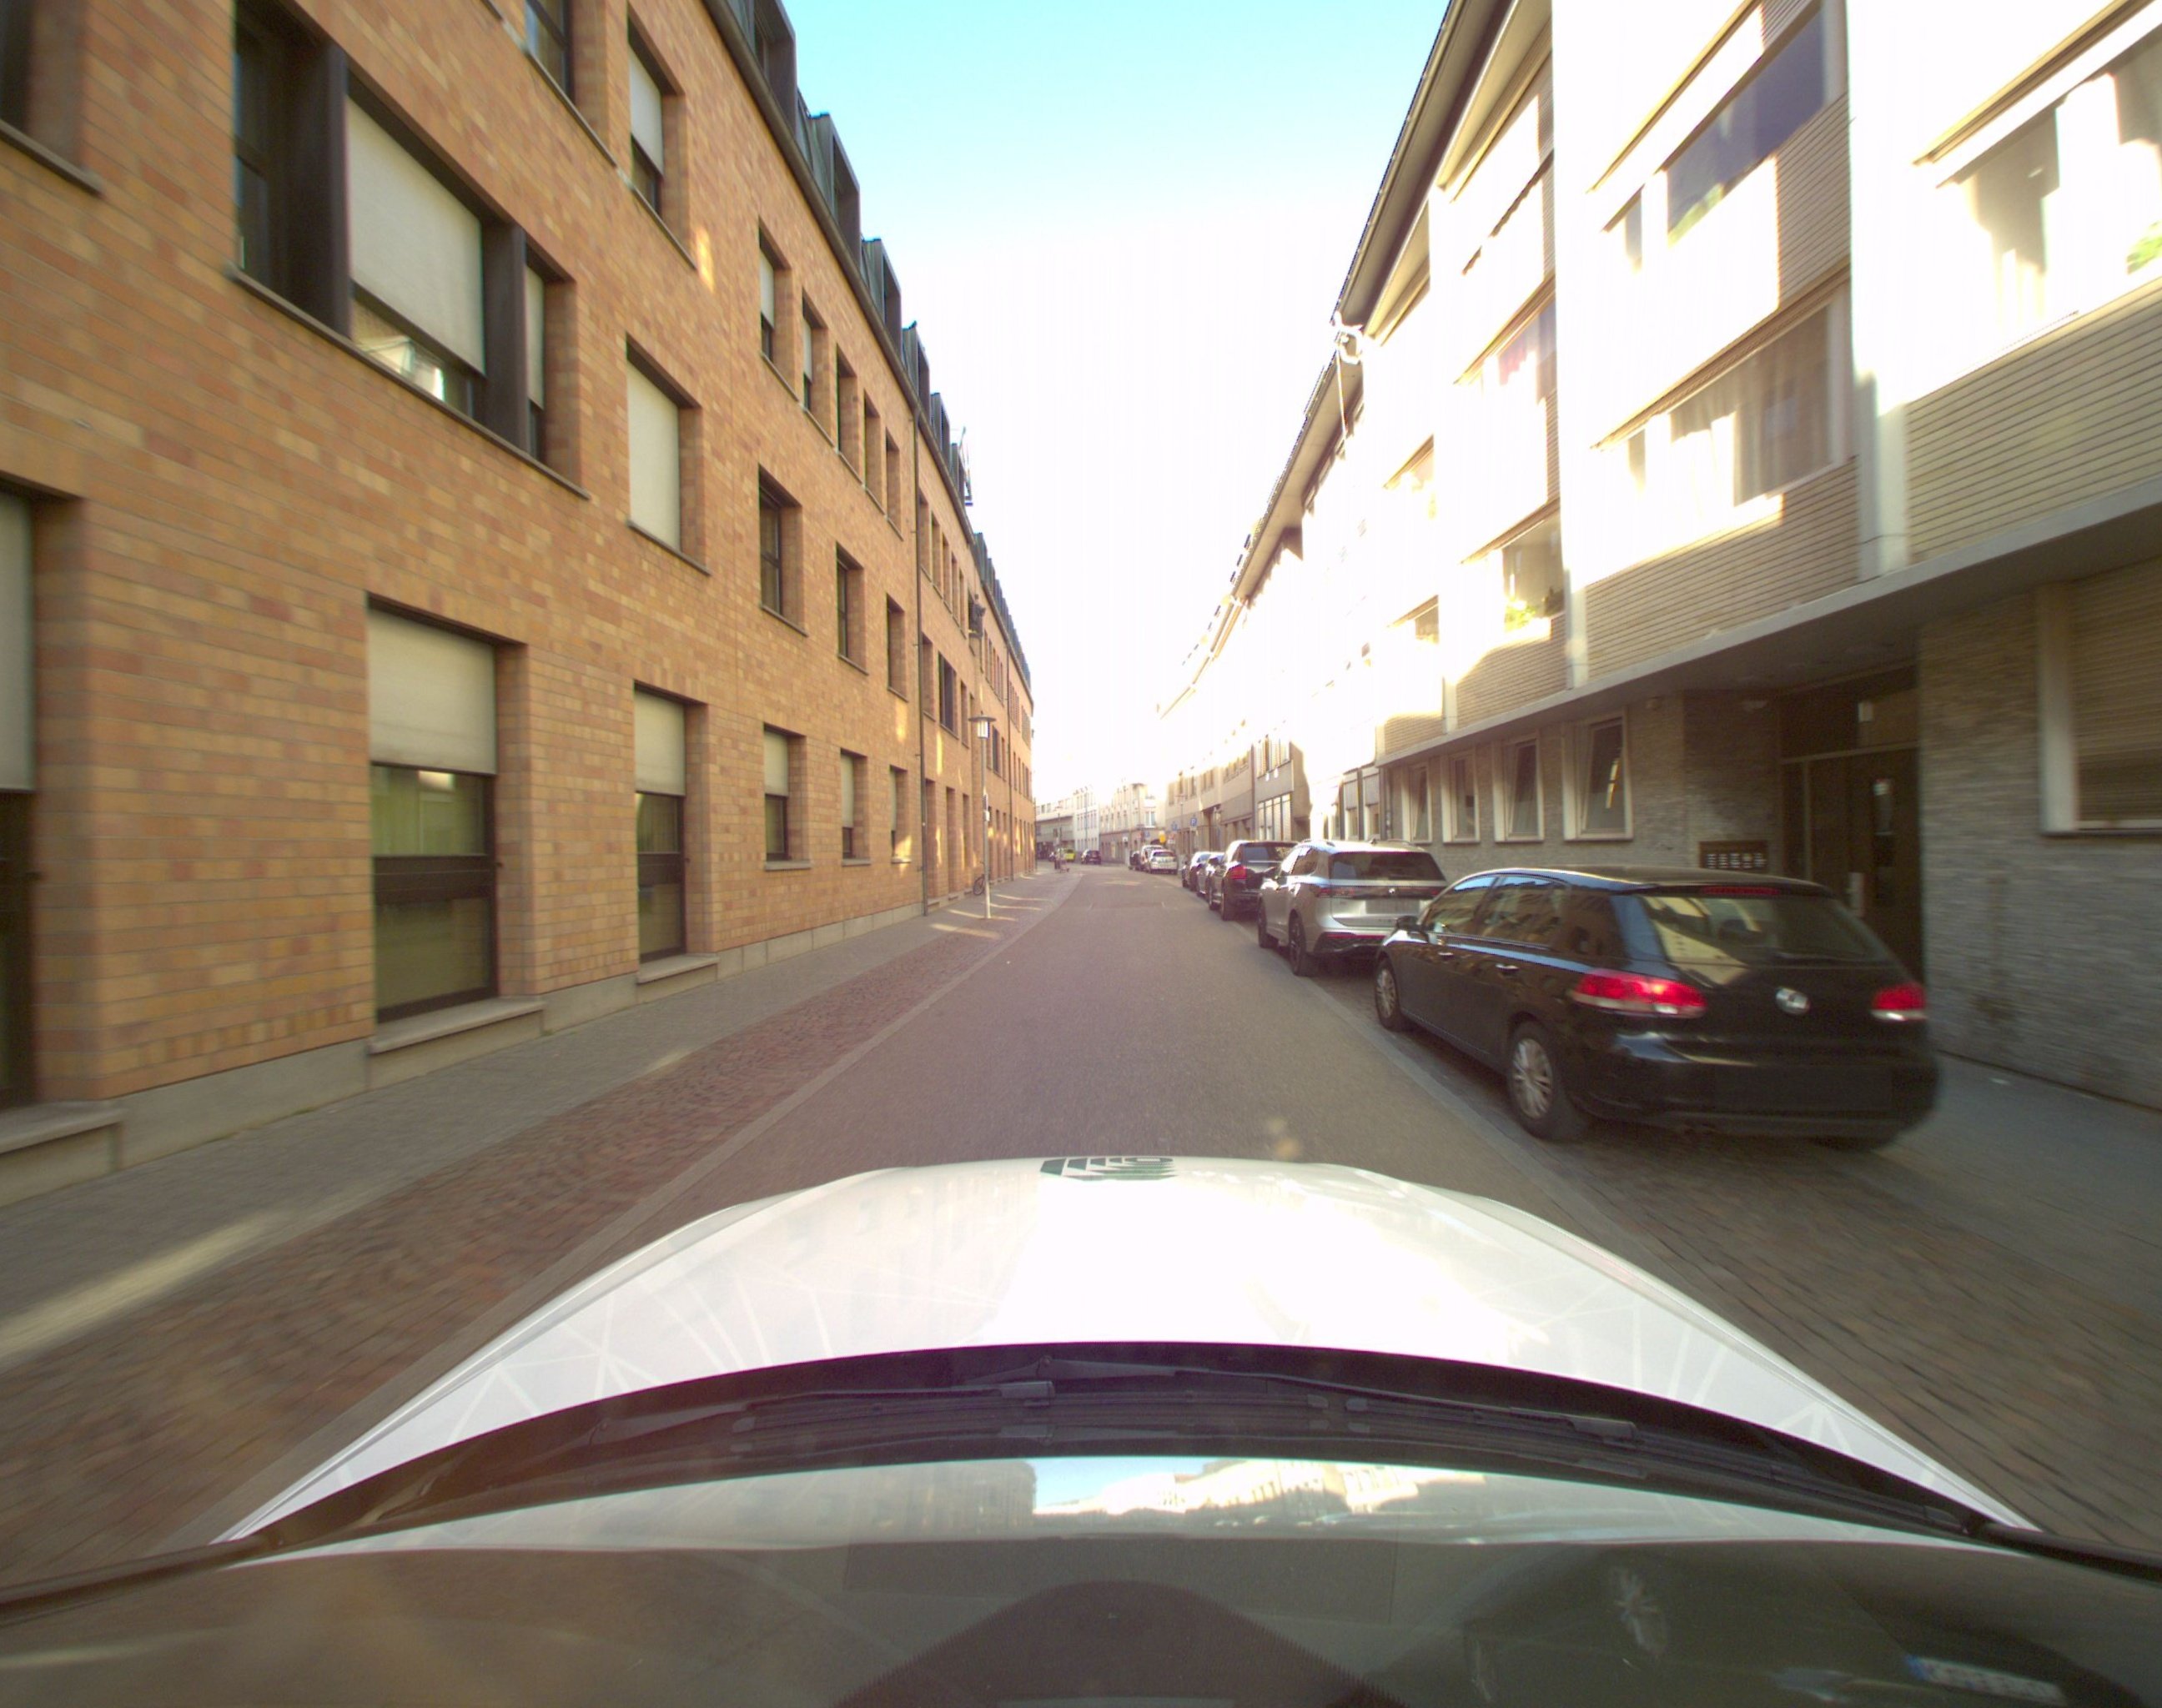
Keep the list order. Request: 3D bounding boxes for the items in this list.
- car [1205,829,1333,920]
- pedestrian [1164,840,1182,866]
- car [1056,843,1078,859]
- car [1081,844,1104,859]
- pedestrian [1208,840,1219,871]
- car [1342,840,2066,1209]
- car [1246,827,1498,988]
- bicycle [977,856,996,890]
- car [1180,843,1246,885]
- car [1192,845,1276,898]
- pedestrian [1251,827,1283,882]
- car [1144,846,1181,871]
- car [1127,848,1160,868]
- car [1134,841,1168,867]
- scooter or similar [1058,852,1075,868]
[{"bbox_3d":[4.082,0.376,18.560,2.094,1.785,5.057,0,1,4],"label":"car"},{"bbox_3d":[6.530,-0.051,57.877,1.039,1.801,1.198,-1,0,-2],"label":"pedestrian"},{"bbox_3d":[-1.964,-0.399,110.268,2.055,2.013,4.155,-2,1,-14],"label":"car"},{"bbox_3d":[1.273,-0.287,94.004,1.967,1.692,4.088,0,0,-9],"label":"car"},{"bbox_3d":[7.292,0.074,44.679,0.477,1.654,0.541,-2,0,14],"label":"pedestrian"},{"bbox_3d":[3.354,0.679,5.750,1.815,1.504,4.605,1,1,4],"label":"car"},{"bbox_3d":[3.604,0.540,11.165,1.985,1.702,4.848,1,1,4],"label":"car"},{"bbox_3d":[-3.355,0.662,29.096,0.630,1.162,1.800,1,1,-6],"label":"bicycle"},{"bbox_3d":[4.887,0.333,30.765,1.886,1.453,5.229,0,1,3],"label":"car"},{"bbox_3d":[4.523,0.455,24.735,1.800,1.412,4.793,1,1,2],"label":"car"},{"bbox_3d":[5.980,0.012,26.230,0.785,1.721,0.747,-4,0,3],"label":"pedestrian"},{"bbox_3d":[5.150,0.264,51.881,1.836,1.478,4.165,1,1,-2],"label":"car"},{"bbox_3d":[4.898,0.277,64.126,1.886,1.518,4.054,-1,0,-6],"label":"car"},{"bbox_3d":[4.962,-0.028,58.180,1.825,1.791,5.210,0,0,-2],"label":"car"},{"bbox_3d":[-1.112,0.459,62.209,0.691,1.217,1.365,-2,0,26],"label":"scooter or similar"}]
